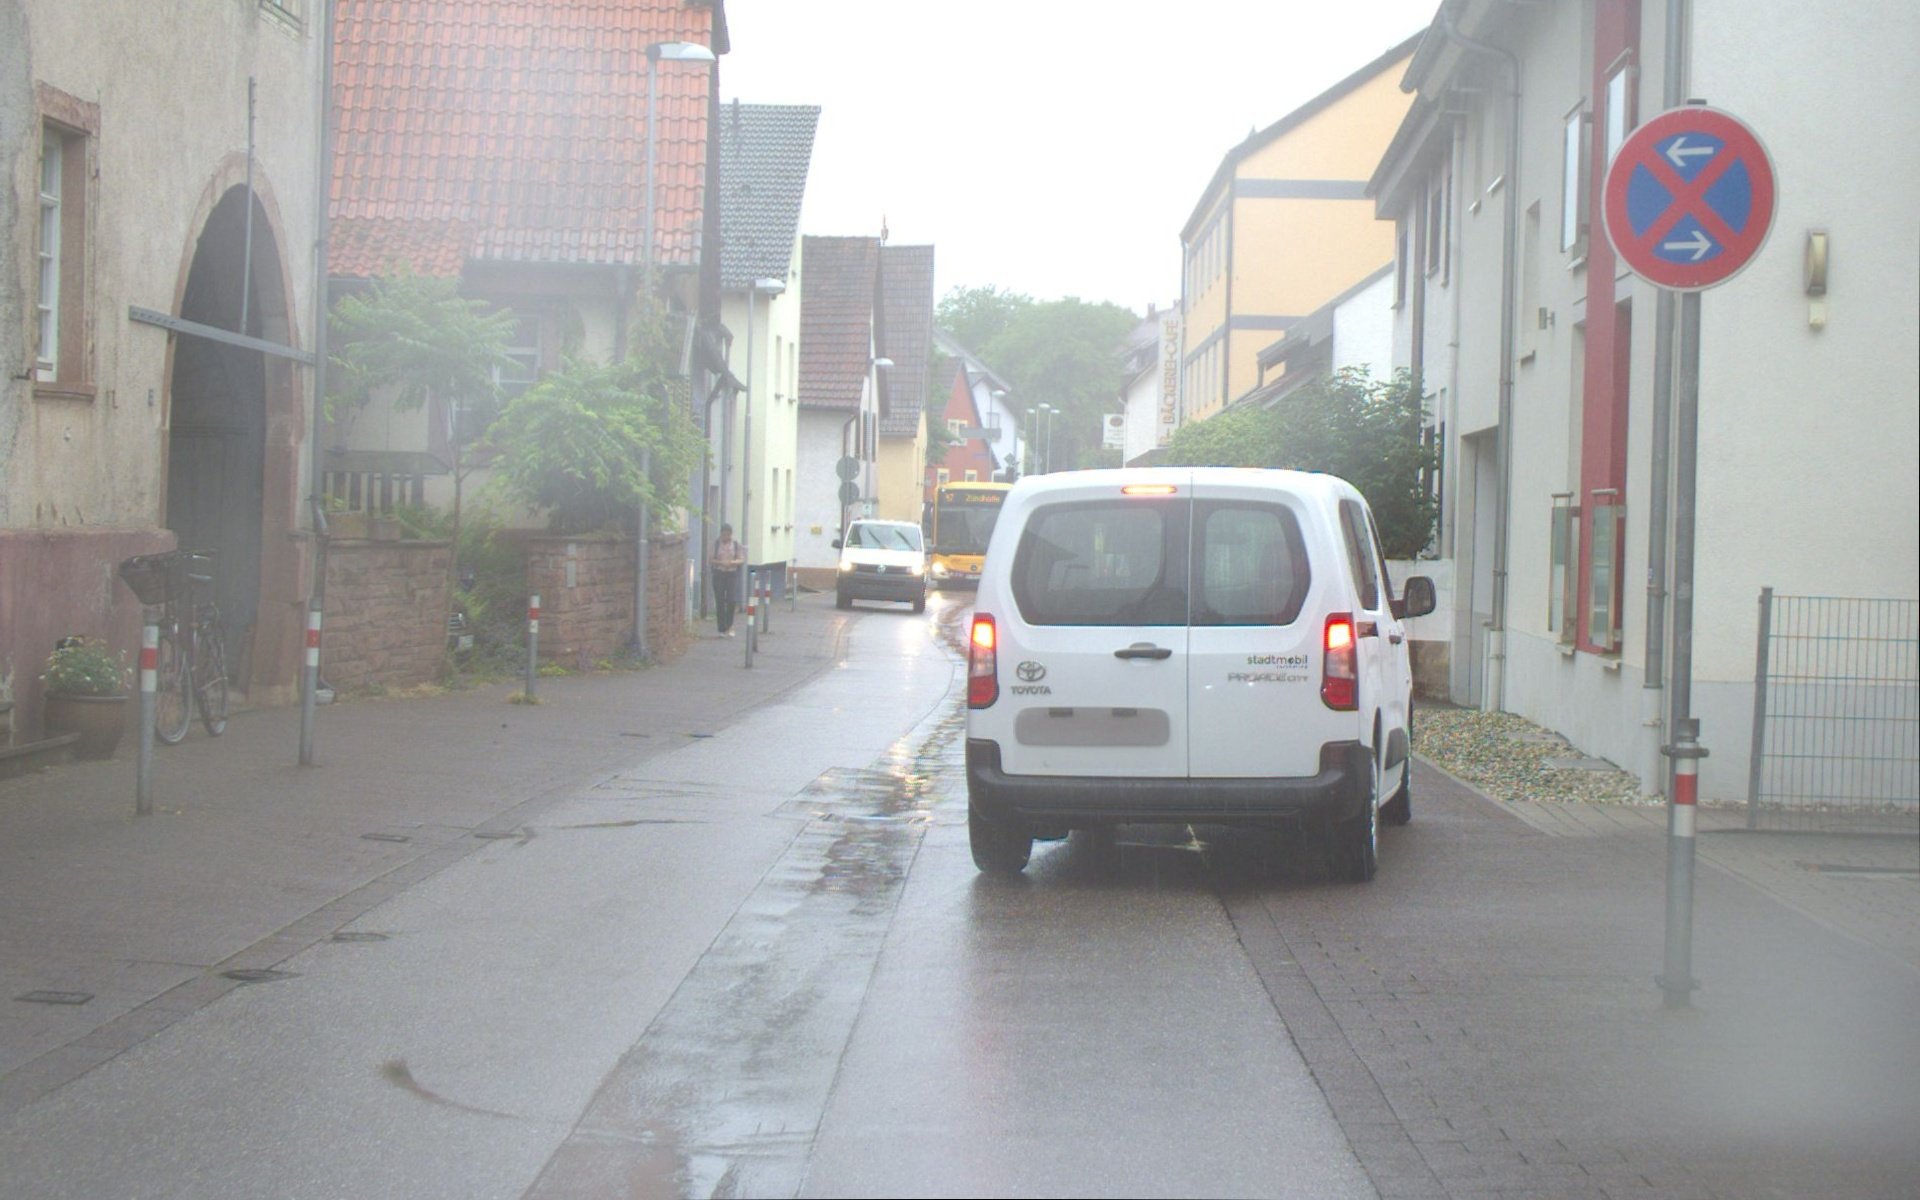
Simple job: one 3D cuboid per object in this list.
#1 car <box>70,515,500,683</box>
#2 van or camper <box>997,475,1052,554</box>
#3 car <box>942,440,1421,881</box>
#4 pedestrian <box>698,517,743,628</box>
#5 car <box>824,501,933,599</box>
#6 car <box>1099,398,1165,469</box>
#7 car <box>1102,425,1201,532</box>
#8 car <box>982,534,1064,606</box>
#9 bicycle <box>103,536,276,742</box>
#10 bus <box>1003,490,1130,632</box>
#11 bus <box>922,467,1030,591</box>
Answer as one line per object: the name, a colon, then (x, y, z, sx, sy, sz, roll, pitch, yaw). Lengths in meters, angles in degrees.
car: (-6.123, -0.026, 31.400, 3.528, 1.371, 1.594, 2, 1, 4)
van or camper: (2.556, -3.321, 135.143, 1.835, 2.915, 5.362, 3, 0, 3)
car: (1.178, 0.230, 16.319, 1.795, 1.812, 4.100, 0, 0, 10)
pedestrian: (-3.331, -0.378, 47.770, 0.567, 1.525, 0.569, 1, 1, -8)
car: (-1.720, -1.056, 74.169, 1.892, 1.960, 4.723, 3, 0, 3)
car: (5.514, -5.320, 110.384, 1.994, 2.007, 4.000, 3, 0, 3)
car: (3.946, -2.486, 71.266, 1.827, 2.007, 3.694, 3, 0, 1)
car: (1.333, -0.612, 71.200, 1.562, 1.367, 3.585, 3, 0, 2)
bicycle: (-4.678, 0.222, 20.975, 0.483, 1.176, 1.835, 3, 0, 3)
bus: (2.616, -0.952, 85.237, 2.793, 3.169, 8.177, 4, 0, 1)
bus: (0.537, -2.043, 101.654, 2.793, 3.317, 8.177, 4, 0, 1)
